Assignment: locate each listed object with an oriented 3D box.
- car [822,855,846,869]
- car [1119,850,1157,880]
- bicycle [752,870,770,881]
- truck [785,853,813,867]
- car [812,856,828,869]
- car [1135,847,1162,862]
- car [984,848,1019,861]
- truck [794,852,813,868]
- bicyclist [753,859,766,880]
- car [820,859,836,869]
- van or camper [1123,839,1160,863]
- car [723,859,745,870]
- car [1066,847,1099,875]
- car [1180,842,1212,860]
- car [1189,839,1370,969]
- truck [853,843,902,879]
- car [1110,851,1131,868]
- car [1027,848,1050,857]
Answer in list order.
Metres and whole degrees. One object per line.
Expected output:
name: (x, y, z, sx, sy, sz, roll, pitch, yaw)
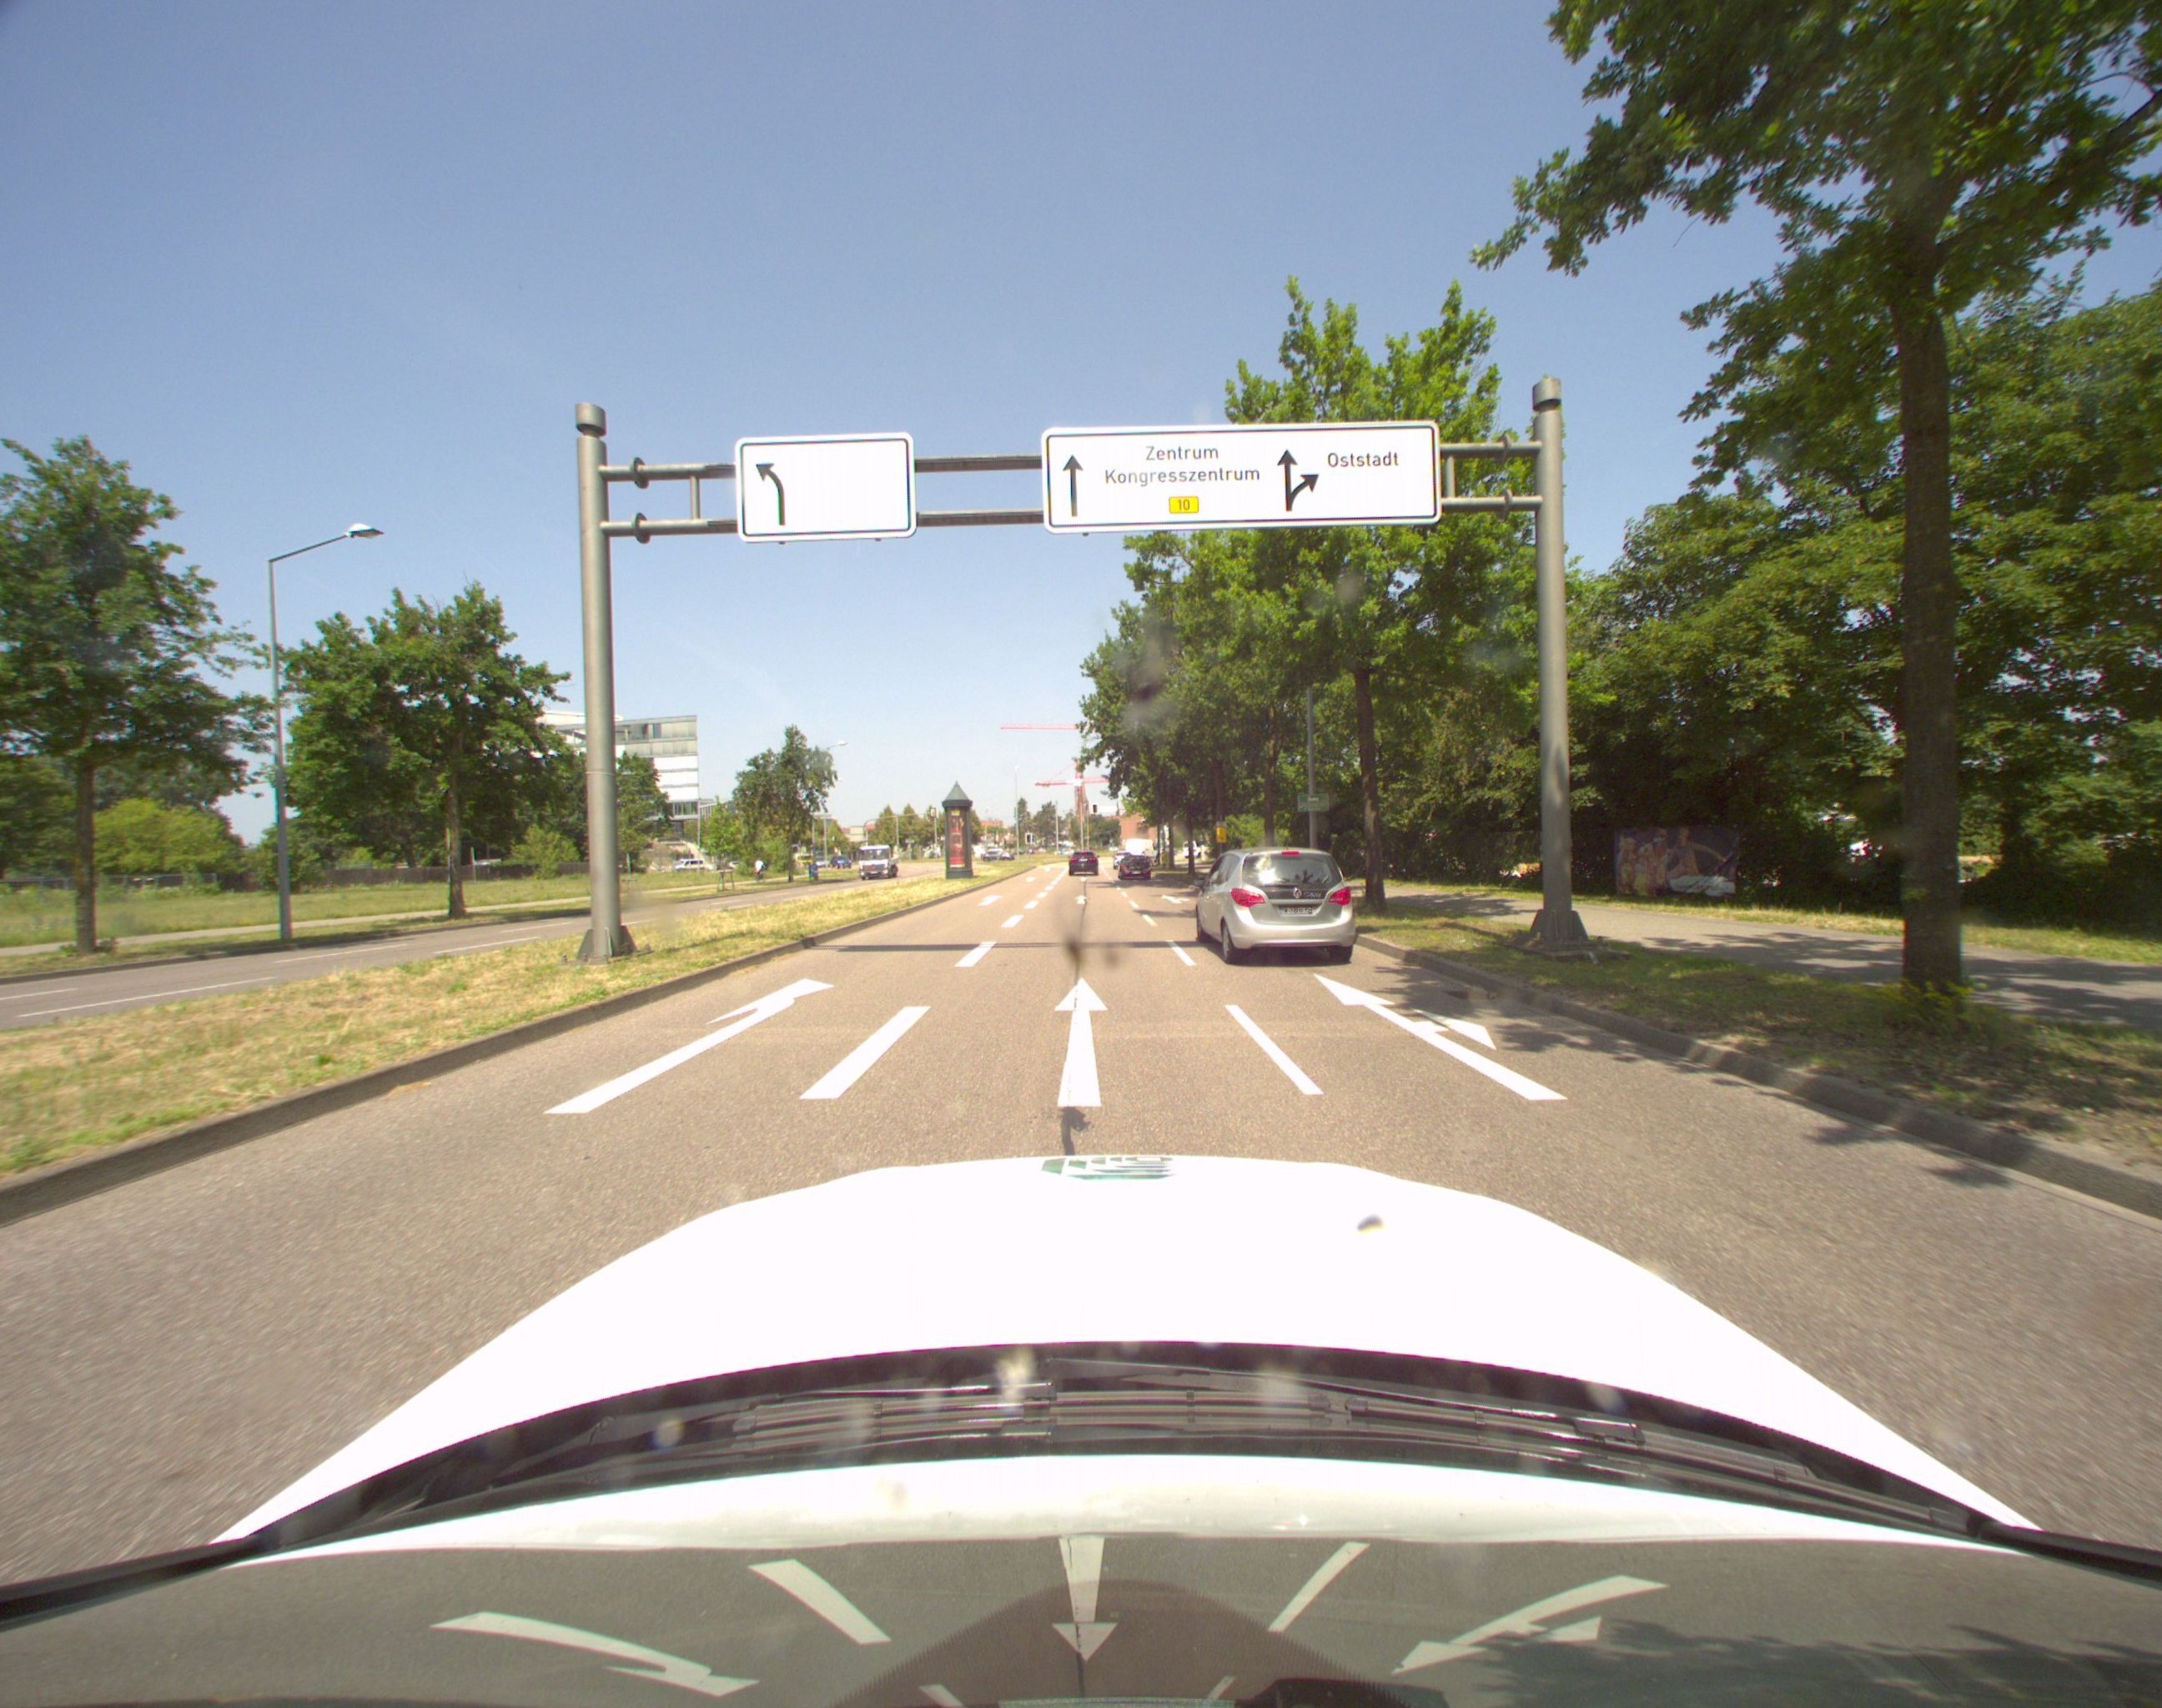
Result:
car: (-29.330, 0.917, 96.592, 2.004, 1.596, 3.965, -2, 0, -26)
car: (3.228, 0.593, 46.678, 2.006, 1.517, 4.463, -2, 0, 2)
bicycle: (-23.890, 1.615, 60.808, 0.479, 0.715, 1.852, -2, 0, 4)
truck: (-54.662, 1.150, 157.790, 6.332, 2.594, 2.376, -2, 0, 44)
car: (-36.796, 1.169, 114.836, 1.999, 1.815, 3.976, -2, 0, -18)
car: (8.706, 0.086, 104.424, 1.845, 1.750, 4.025, -2, 0, 29)
car: (-9.815, 0.076, 100.405, 3.973, 1.453, 2.001, -2, 0, 1)
truck: (-50.118, 1.095, 147.234, 2.008, 2.739, 4.981, -2, 0, -33)
bicyclist: (-23.927, 1.143, 60.628, 0.620, 1.489, 0.757, -2, 0, 3)
car: (-38.867, 1.556, 125.252, 1.681, 1.537, 3.828, -2, 0, -27)
van or camper: (6.176, -0.365, 82.657, 2.473, 2.291, 4.946, -2, 0, 20)
car: (-72.788, 2.209, 170.902, 4.001, 1.816, 1.985, -2, -7, -21)
car: (0.152, 0.433, 53.547, 1.990, 1.689, 4.036, -1, 1, 2)
car: (13.596, -0.399, 95.922, 1.974, 2.013, 4.026, -2, 0, 38)
car: (2.802, 0.625, 12.378, 1.786, 1.612, 3.891, -2, 0, 0)
truck: (-15.836, 0.539, 63.775, 2.634, 2.576, 6.308, -2, 0, -5)
car: (3.329, 0.461, 68.777, 1.648, 1.356, 4.464, -2, 0, 3)
car: (-7.923, -0.248, 152.389, 3.965, 1.464, 2.004, -2, 0, 7)
